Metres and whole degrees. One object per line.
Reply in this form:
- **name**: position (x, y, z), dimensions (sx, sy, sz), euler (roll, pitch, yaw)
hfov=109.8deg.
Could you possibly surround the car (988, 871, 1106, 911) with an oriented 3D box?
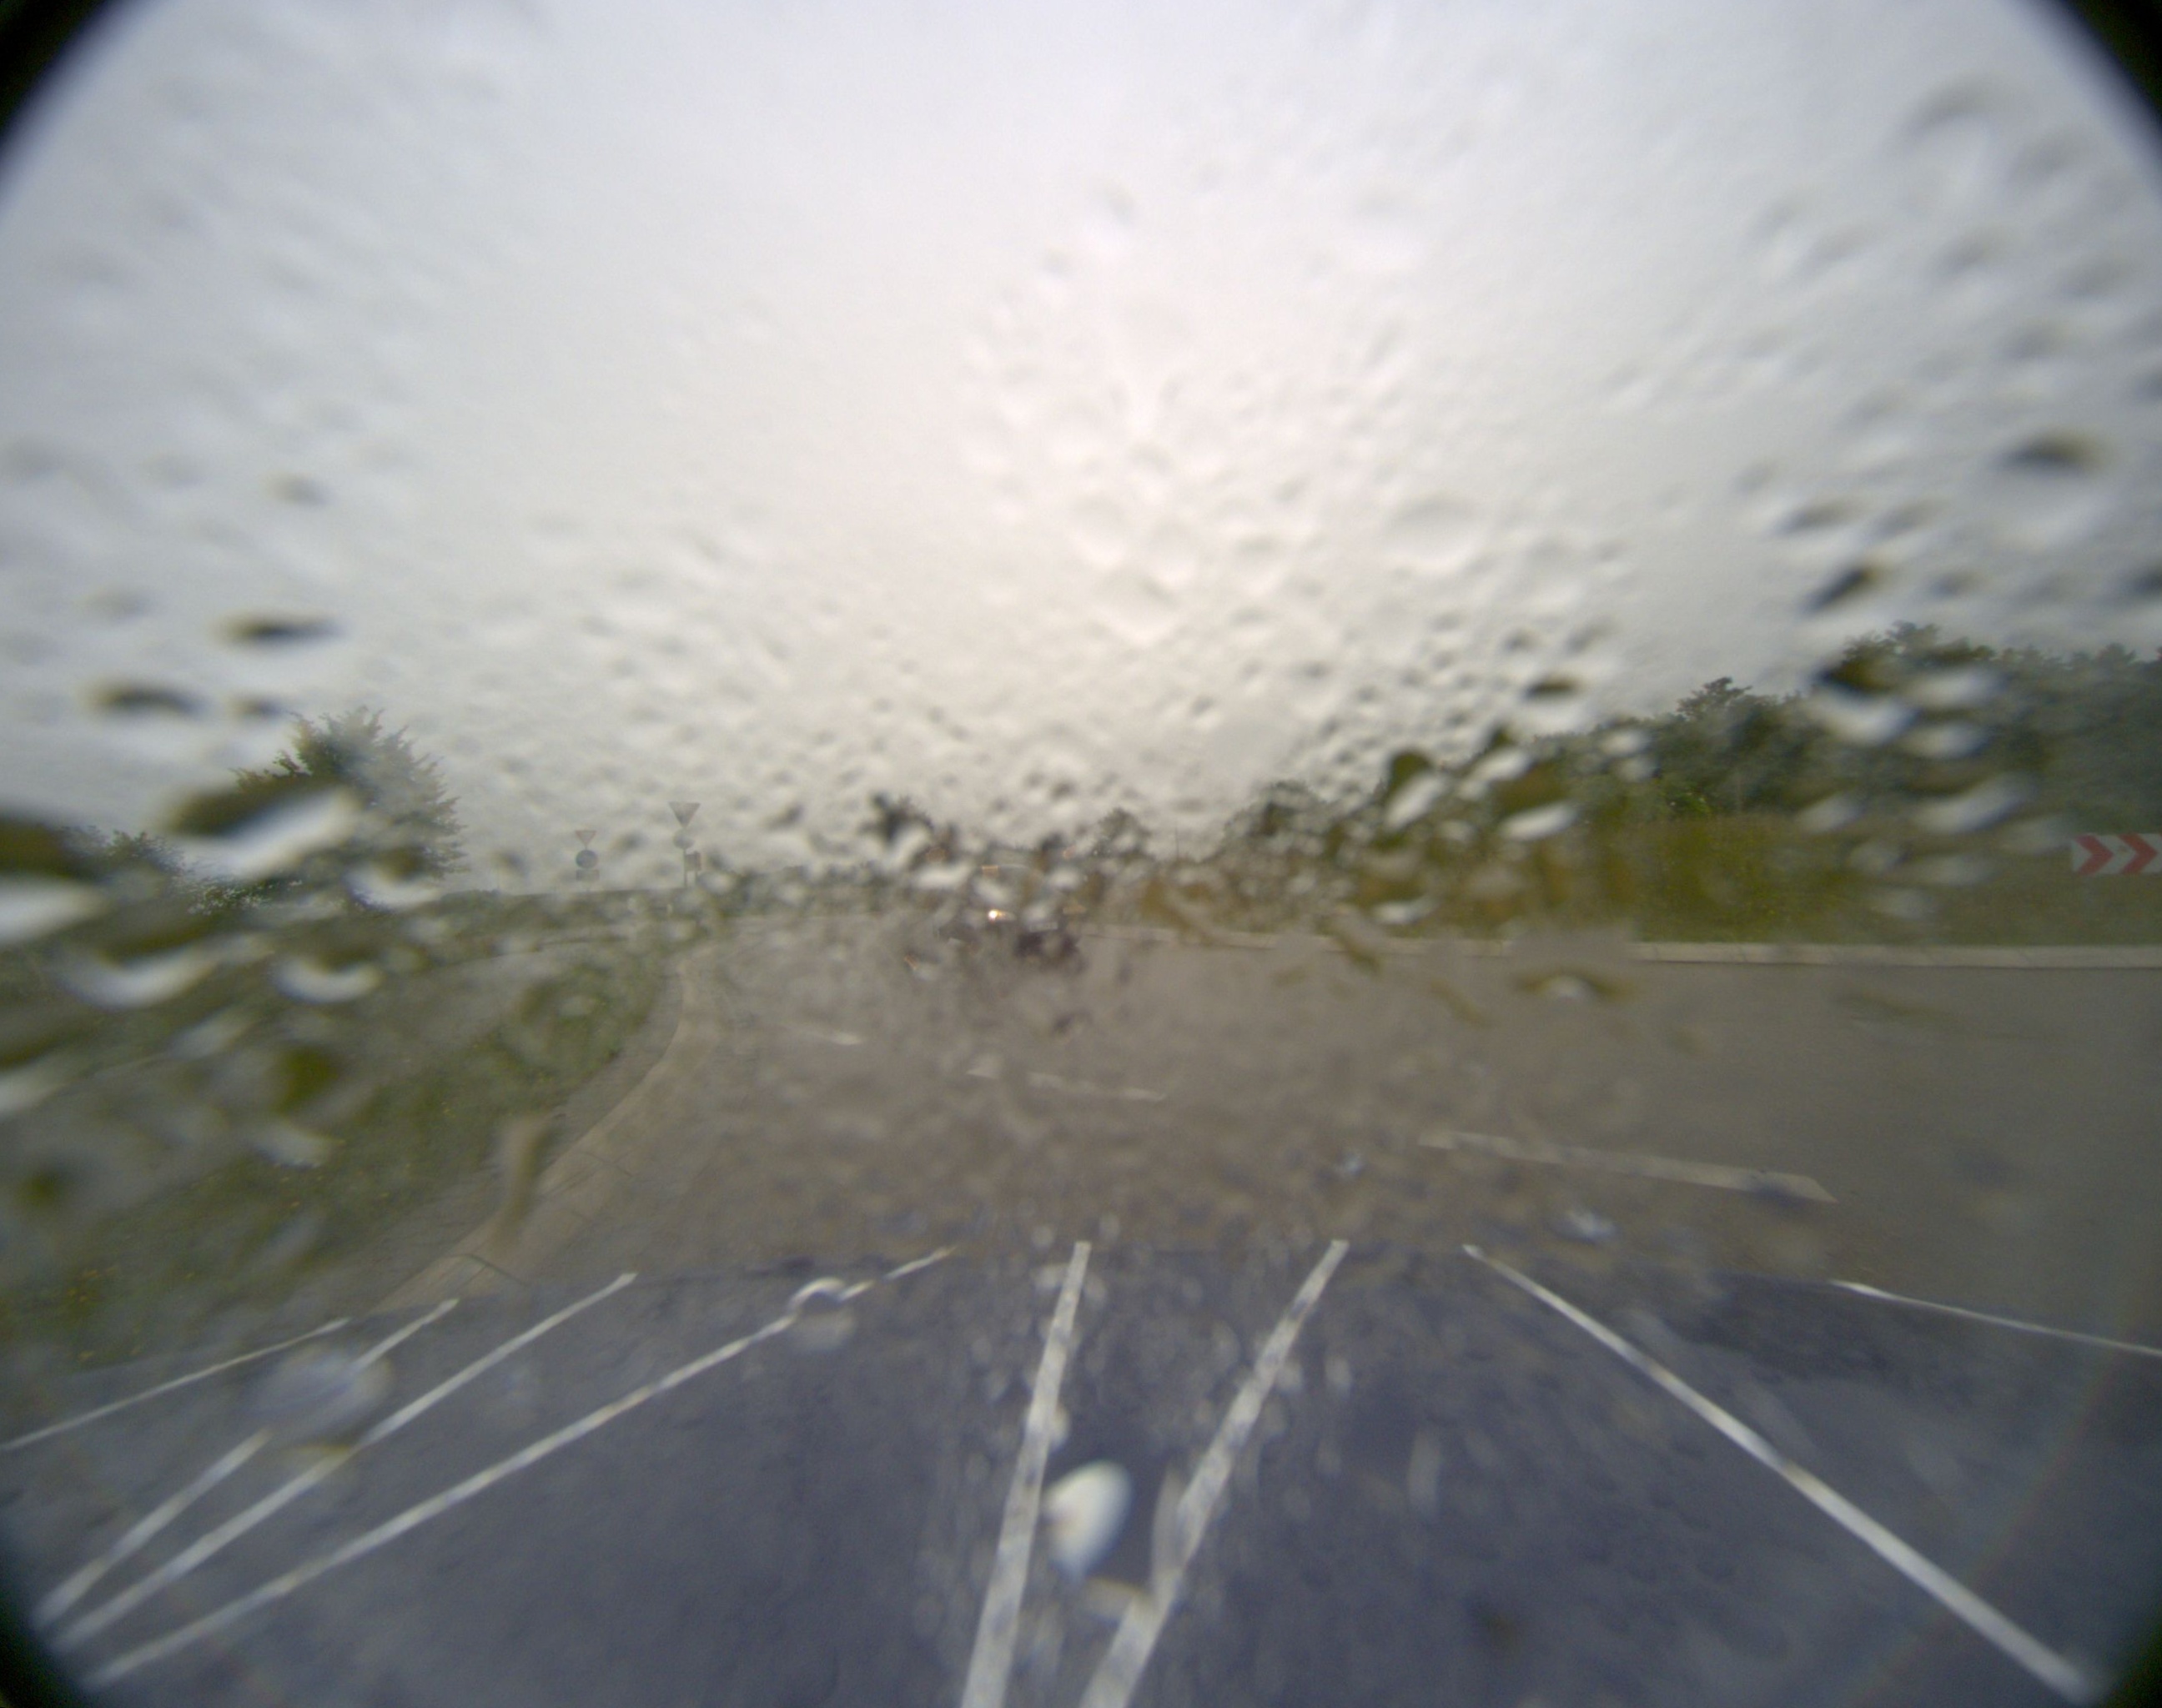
- **car**: position (-1.173, 1.351, 28.179), dimensions (1.945, 1.363, 4.514), euler (-3, -3, 36)

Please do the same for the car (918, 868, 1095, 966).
- **car**: position (-1.549, 1.034, 13.780), dimensions (1.876, 1.412, 4.496), euler (-1, -2, -23)
